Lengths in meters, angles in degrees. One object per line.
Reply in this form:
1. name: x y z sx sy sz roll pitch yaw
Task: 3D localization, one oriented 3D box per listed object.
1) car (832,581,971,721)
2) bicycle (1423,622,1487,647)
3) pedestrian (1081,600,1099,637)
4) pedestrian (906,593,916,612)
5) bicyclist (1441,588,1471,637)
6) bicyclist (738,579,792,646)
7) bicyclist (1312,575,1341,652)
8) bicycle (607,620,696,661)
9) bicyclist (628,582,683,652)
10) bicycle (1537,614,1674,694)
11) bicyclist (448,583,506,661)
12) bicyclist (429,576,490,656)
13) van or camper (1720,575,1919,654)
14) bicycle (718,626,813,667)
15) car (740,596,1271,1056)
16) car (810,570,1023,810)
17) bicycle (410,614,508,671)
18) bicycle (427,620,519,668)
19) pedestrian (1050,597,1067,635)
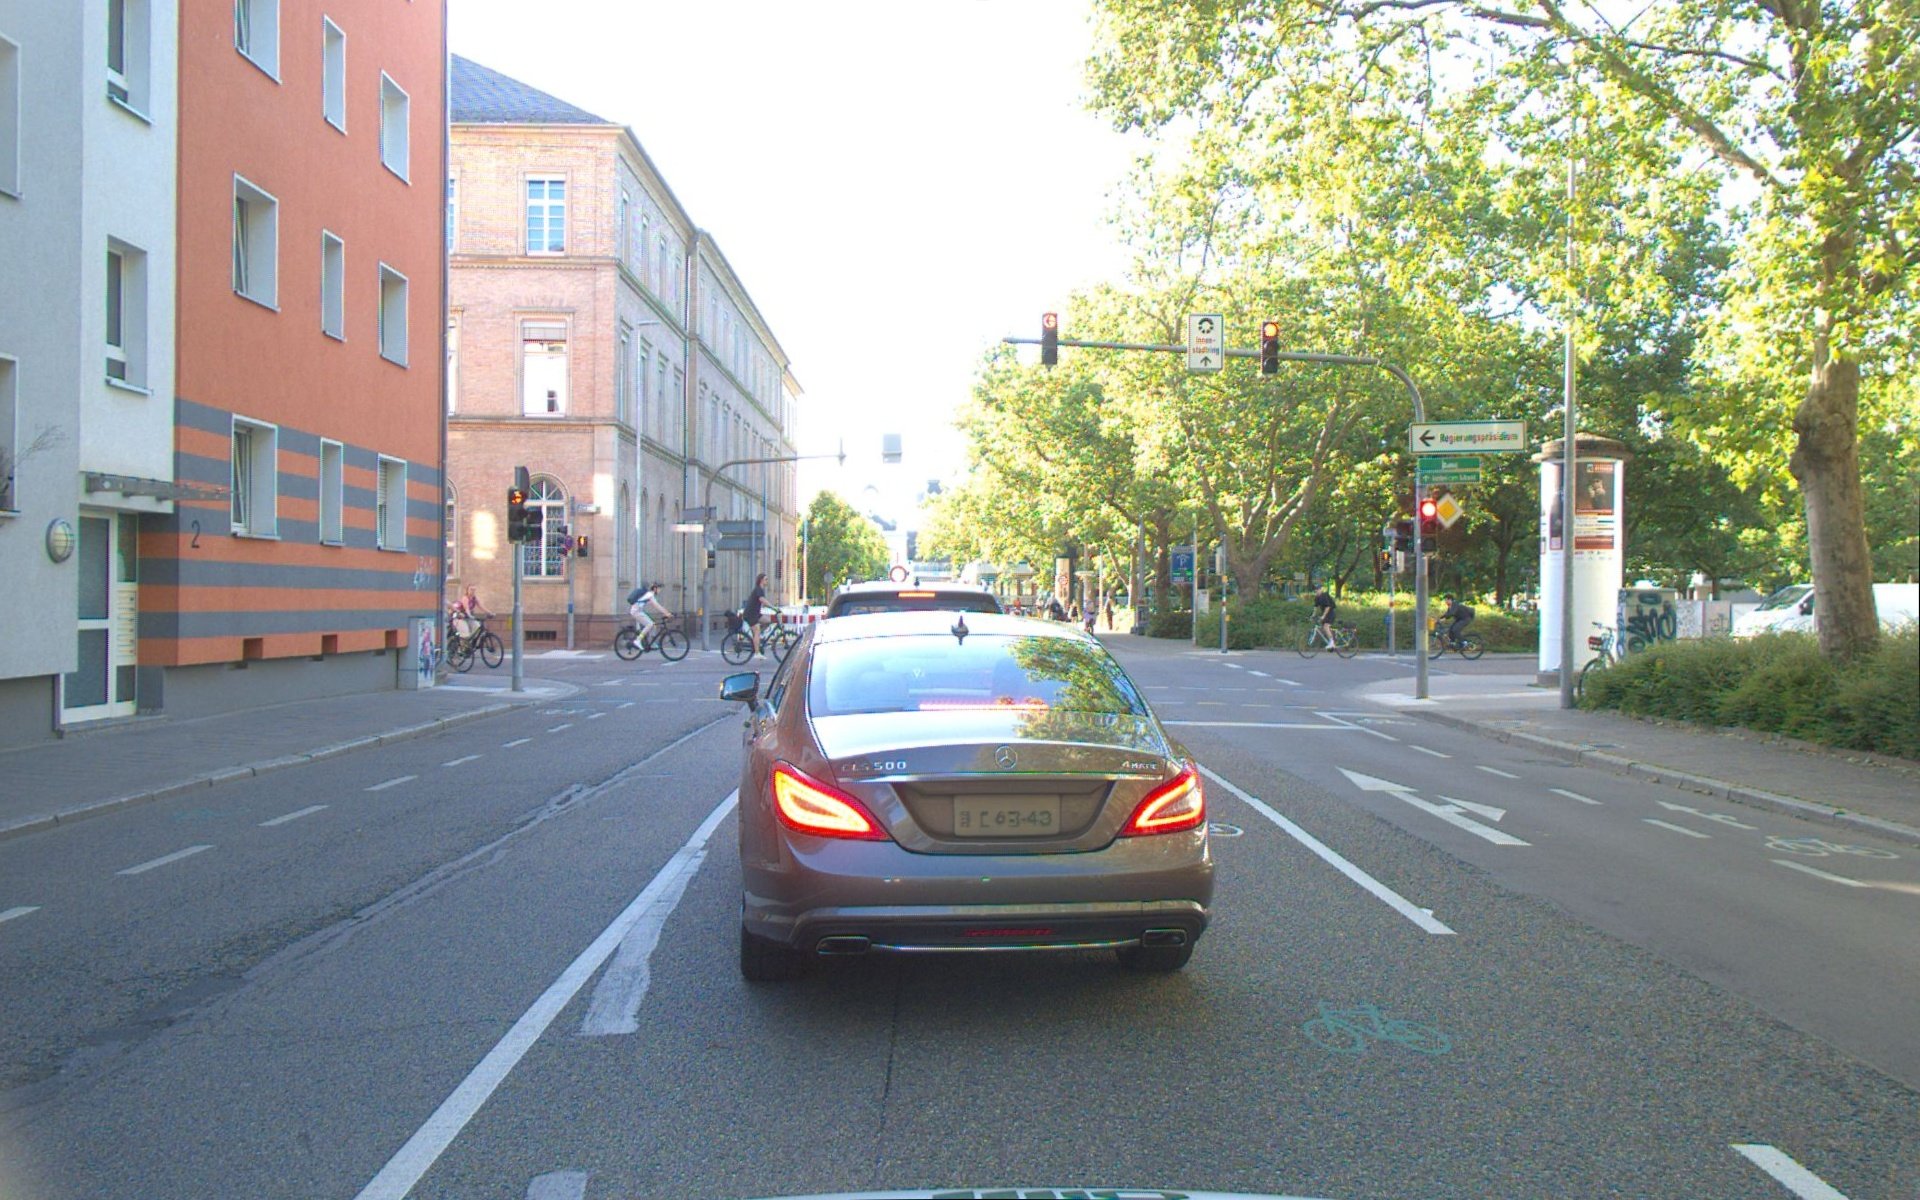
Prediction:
1. car: -0.779 0.648 23.230 1.783 1.793 3.999 0 0 -1
2. bicycle: 13.252 0.929 44.282 1.554 0.646 0.496 0 0 3
3. pedestrian: 5.137 0.731 65.255 0.635 1.458 0.659 0 0 -1
4. pedestrian: -4.287 0.234 144.912 0.785 1.604 0.844 0 0 -1
5. bicyclist: 13.274 0.329 44.270 0.689 1.282 0.458 0 0 2
6. bicyclist: -4.151 0.265 35.258 1.081 1.427 0.657 0 0 -1
7. bicyclist: 9.794 0.358 44.147 0.640 2.049 0.439 0 0 -8
8. bicycle: -6.903 0.897 37.049 1.853 0.898 0.726 0 0 3
9. bicyclist: -6.822 0.365 37.034 1.052 1.546 0.717 0 0 4
10. bicycle: 9.261 0.770 23.766 1.766 1.116 0.510 0 0 2
11. bicyclist: -10.145 0.446 34.736 0.958 1.605 0.687 0 0 21
12. bicyclist: -10.058 0.305 33.273 0.820 1.582 0.844 0 0 26
13. van or camper: 22.173 0.363 42.430 4.487 1.975 1.999 0 0 -3
14. bicycle: -4.136 0.984 35.256 1.934 0.851 0.676 0 0 0
15. car: -0.113 0.731 7.631 1.769 1.482 4.343 0 0 -8
16. car: -0.397 0.634 13.636 1.487 1.675 3.878 1 0 -3
17. bicycle: -10.089 0.847 33.284 1.795 1.097 0.864 0 0 27
18. bicycle: -10.231 0.916 34.754 1.819 0.945 0.695 0 0 22
19. pedestrian: 3.934 0.637 65.947 0.635 1.529 0.637 0 0 -1
